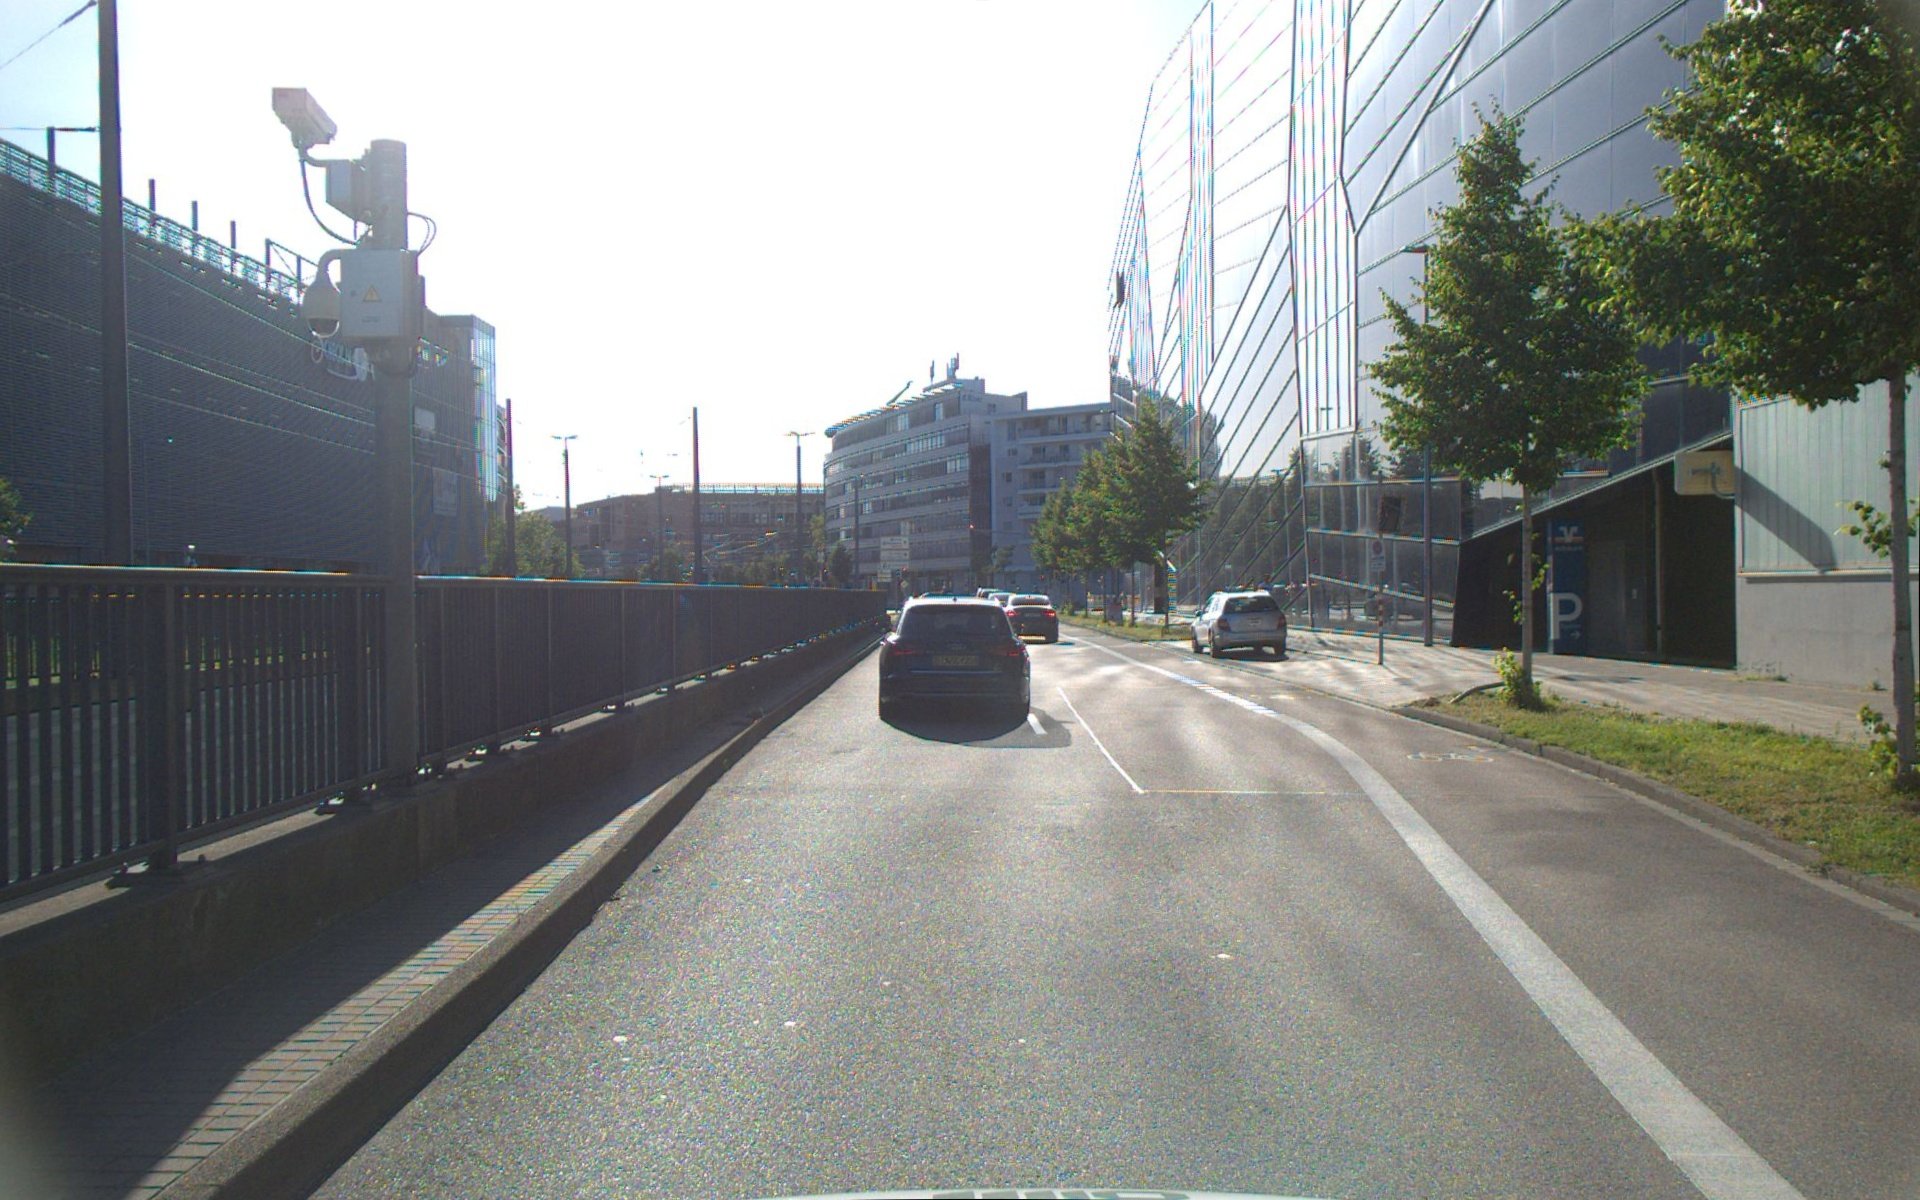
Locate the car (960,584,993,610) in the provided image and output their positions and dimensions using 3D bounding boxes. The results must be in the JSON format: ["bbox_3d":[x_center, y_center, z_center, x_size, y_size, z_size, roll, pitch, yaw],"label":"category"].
[{"bbox_3d":[1.048,-0.183,100.656,1.952,1.491,4.001,0,1,1],"label":"car"}]

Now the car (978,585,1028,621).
[{"bbox_3d":[1.870,0.103,73.572,1.953,1.491,3.999,0,1,-2],"label":"car"}]

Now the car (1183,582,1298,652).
[{"bbox_3d":[6.665,0.368,39.836,1.815,1.506,4.853,-3,1,-1],"label":"car"}]

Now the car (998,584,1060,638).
[{"bbox_3d":[2.096,0.307,51.102,1.814,1.573,4.001,1,0,1],"label":"car"}]

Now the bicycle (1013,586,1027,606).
[{"bbox_3d":[3.846,-0.256,106.323,0.710,1.204,2.092,-2,0,-2],"label":"bicycle"}]

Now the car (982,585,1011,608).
[{"bbox_3d":[2.493,-0.242,112.461,1.952,1.491,4.001,0,1,1],"label":"car"}]

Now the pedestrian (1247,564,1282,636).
[{"bbox_3d":[8.840,-0.013,48.016,0.819,2.049,0.689,-2,0,0],"label":"pedestrian"}]

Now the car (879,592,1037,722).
[{"bbox_3d":[-0.061,0.652,21.222,1.775,1.452,4.688,-1,0,-1],"label":"car"}]

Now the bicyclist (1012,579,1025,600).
[{"bbox_3d":[3.769,-0.655,106.314,0.710,1.291,1.035,-2,0,-2],"label":"bicyclist"}]
